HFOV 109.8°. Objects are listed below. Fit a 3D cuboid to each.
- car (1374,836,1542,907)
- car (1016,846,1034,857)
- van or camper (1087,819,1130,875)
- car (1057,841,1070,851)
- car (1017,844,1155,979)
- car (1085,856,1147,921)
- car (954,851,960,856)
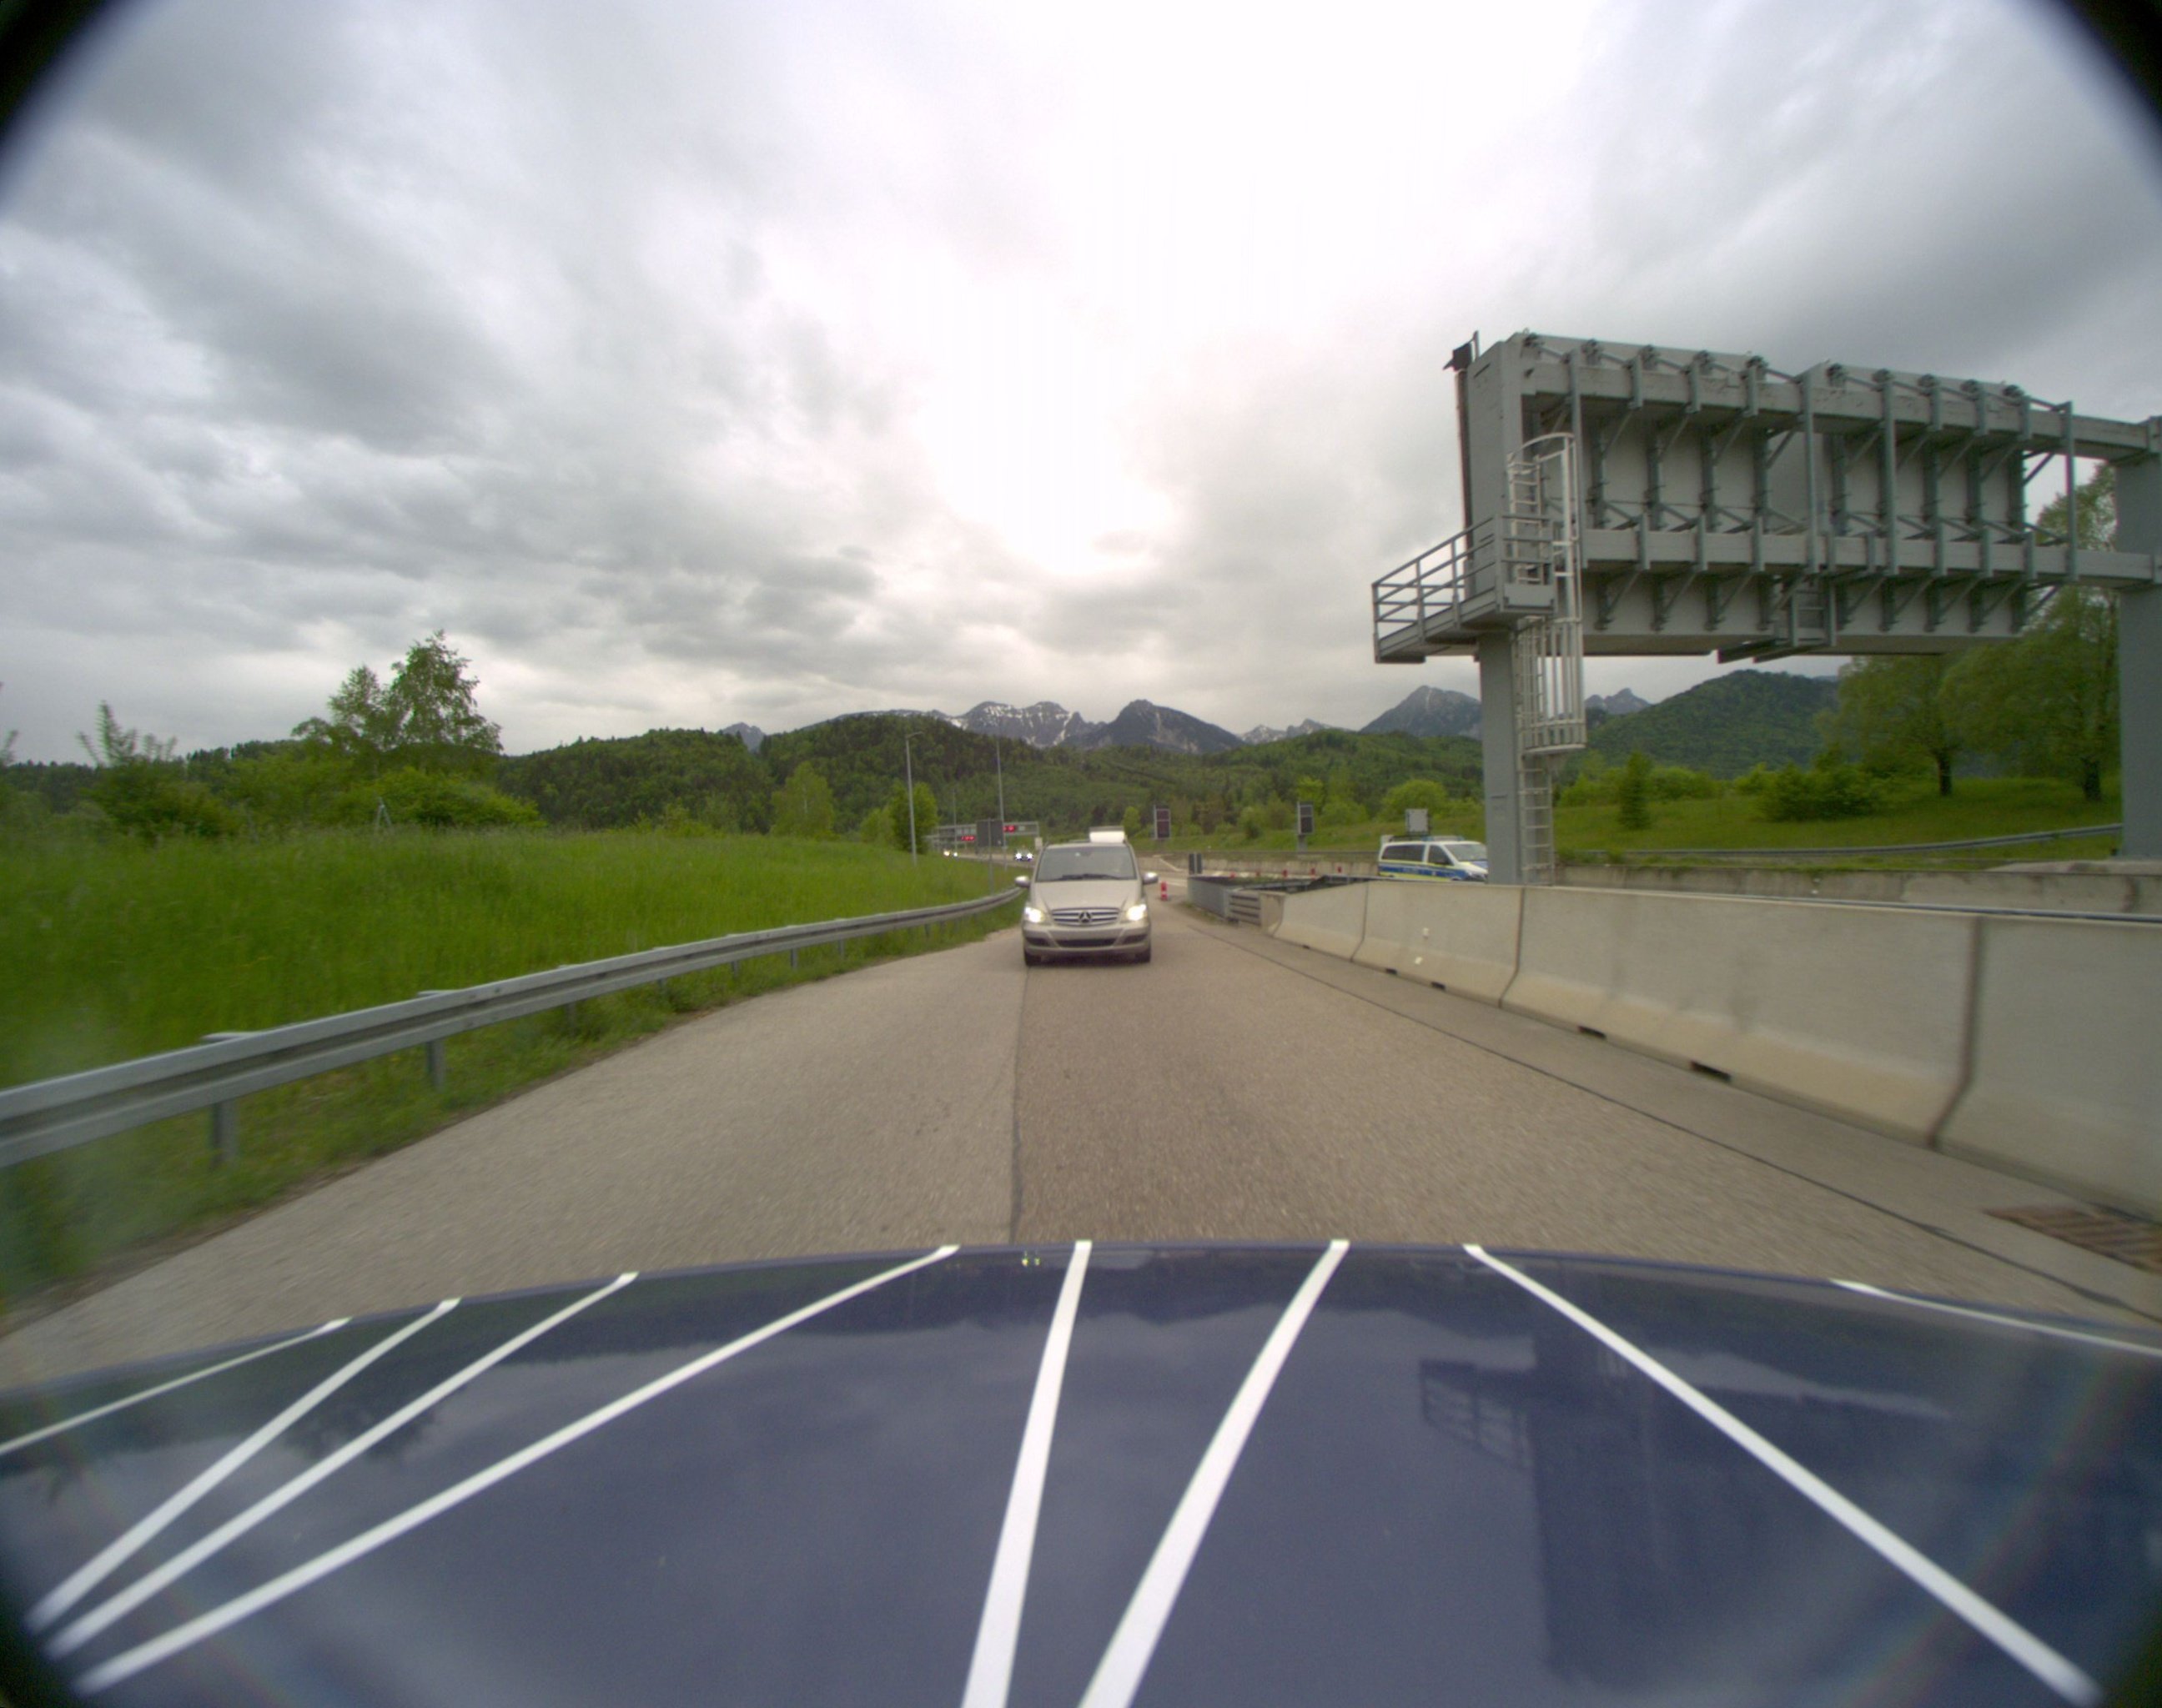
[{"bbox_3d":[11.761,0.479,24.186,2.106,2.002,5.046,-1,1,-12],"label":"car"},{"bbox_3d":[-8.015,-0.359,108.359,1.722,1.629,4.343,-1,1,-14],"label":"car"},{"bbox_3d":[1.793,-0.464,49.881,2.582,3.372,7.356,-1,1,2],"label":"van or camper"},{"bbox_3d":[-3.509,-1.589,152.627,1.740,1.935,4.168,-2,0,-14],"label":"car"},{"bbox_3d":[0.147,0.776,13.241,1.862,1.833,5.617,-1,0,2],"label":"car"},{"bbox_3d":[1.002,0.918,21.936,1.591,1.662,4.001,-1,0,2],"label":"car"},{"bbox_3d":[-41.182,-0.095,251.920,1.738,1.646,3.995,-1,0,-12],"label":"car"}]
